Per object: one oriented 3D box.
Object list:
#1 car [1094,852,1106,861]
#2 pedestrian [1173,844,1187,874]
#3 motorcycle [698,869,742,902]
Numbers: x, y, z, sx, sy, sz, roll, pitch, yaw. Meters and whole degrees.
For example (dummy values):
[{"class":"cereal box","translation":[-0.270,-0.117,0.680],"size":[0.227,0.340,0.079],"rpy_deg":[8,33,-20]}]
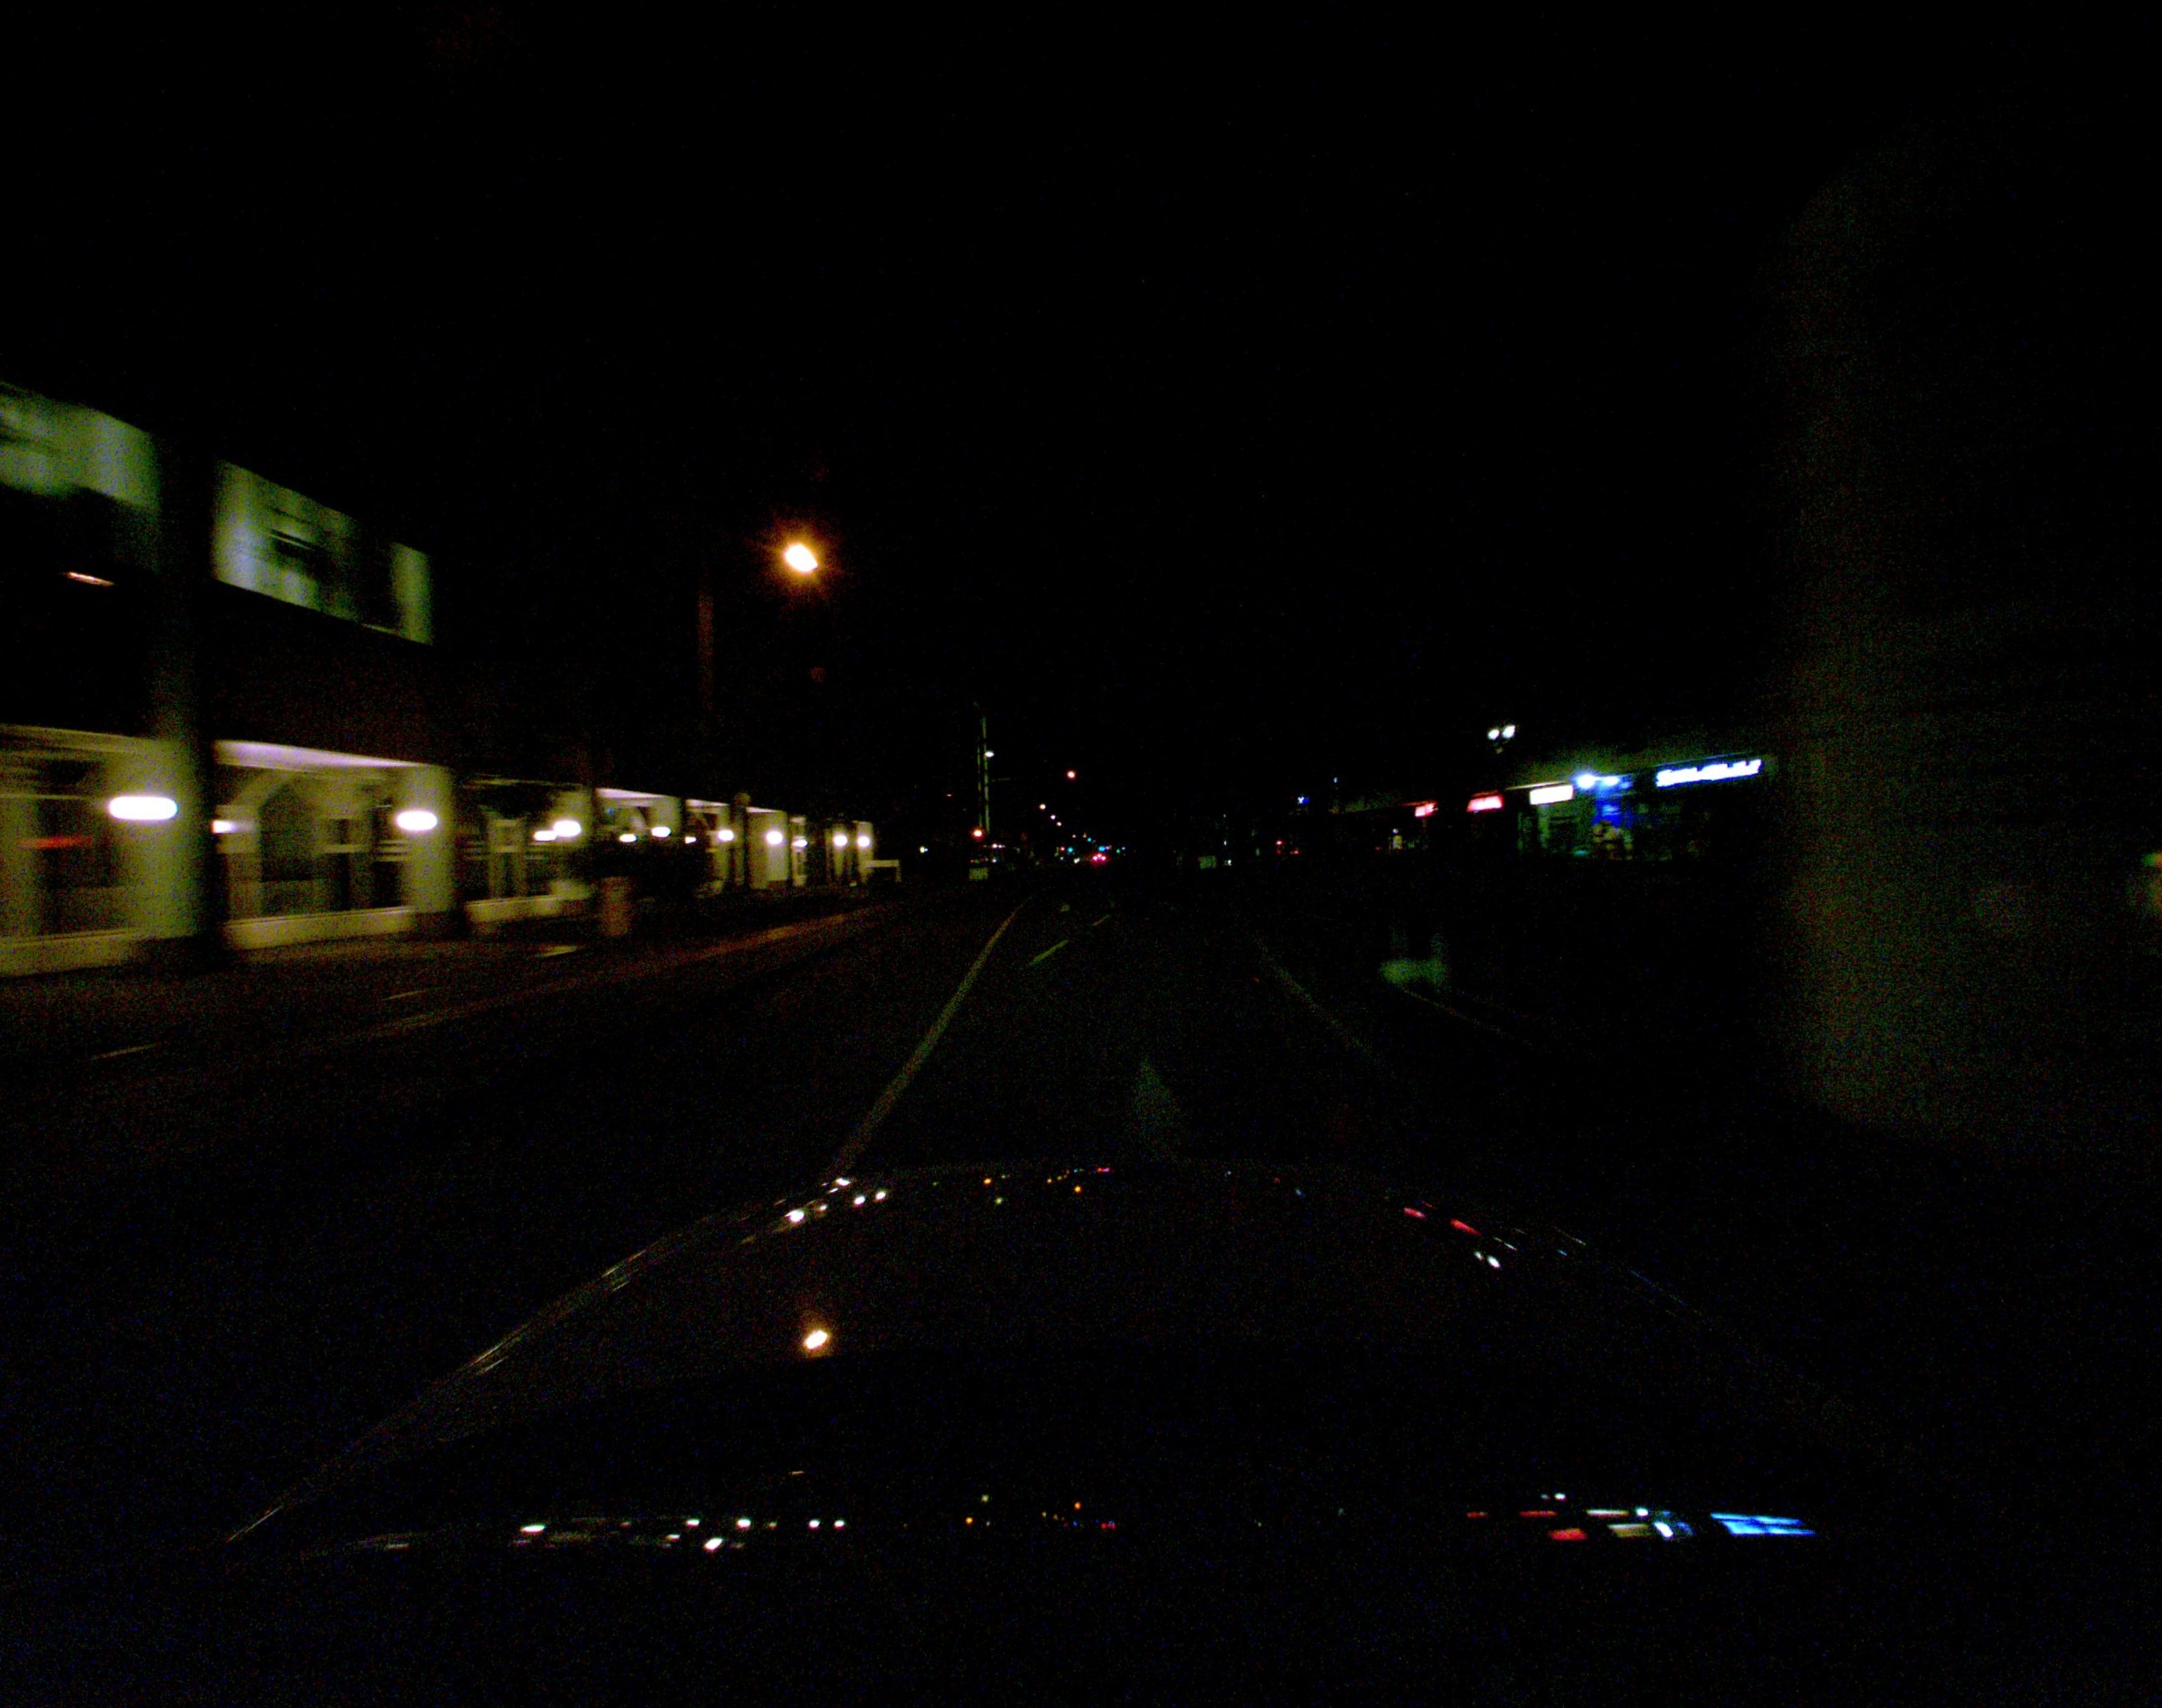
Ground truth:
[{"class":"car","translation":[3.504,0.444,148.599],"size":[1.987,1.643,4.000],"rpy_deg":[-3,0,0]},{"class":"pedestrian","translation":[6.216,0.310,51.205],"size":[0.700,1.818,1.082],"rpy_deg":[-3,0,1]},{"class":"motorcycle","translation":[-12.158,1.057,27.474],"size":[0.475,1.020,1.680],"rpy_deg":[-2,0,11]}]
